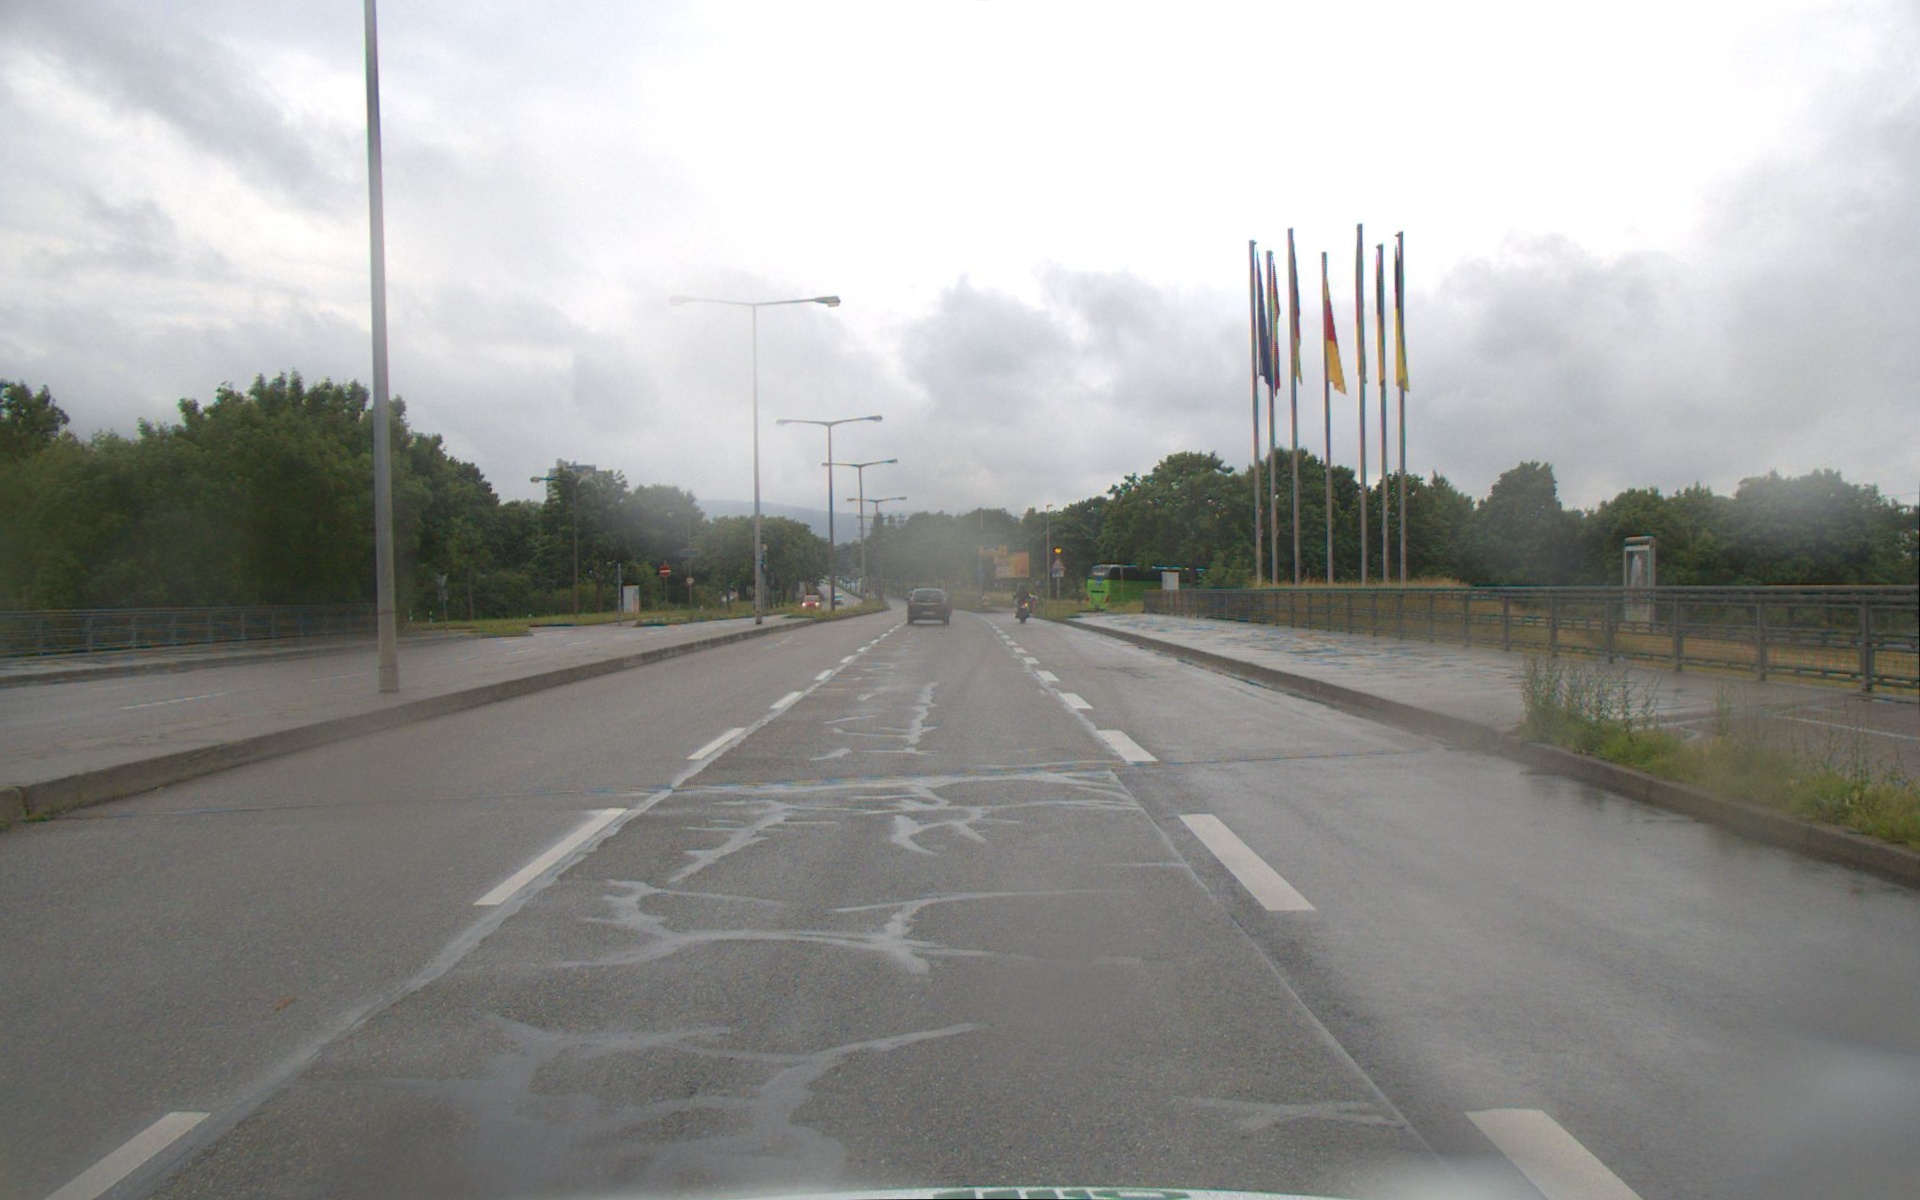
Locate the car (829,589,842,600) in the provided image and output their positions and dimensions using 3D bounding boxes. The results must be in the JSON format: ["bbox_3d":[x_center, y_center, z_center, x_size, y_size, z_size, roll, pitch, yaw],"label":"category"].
[{"bbox_3d":[-19.200,-0.843,254.498,1.673,1.658,4.490,-3,0,-2],"label":"car"}]

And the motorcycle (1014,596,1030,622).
[{"bbox_3d":[2.695,0.388,71.965,0.589,1.112,1.731,0,1,-2],"label":"motorcycle"}]

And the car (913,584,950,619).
[{"bbox_3d":[-1.179,0.053,66.664,1.433,1.352,3.757,0,1,-2],"label":"car"}]

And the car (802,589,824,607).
[{"bbox_3d":[-12.619,-0.182,142.200,1.627,1.473,3.556,-3,0,-1],"label":"car"}]

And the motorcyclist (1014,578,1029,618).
[{"bbox_3d":[2.684,-0.083,71.941,0.589,1.719,0.860,0,1,-2],"label":"motorcyclist"}]

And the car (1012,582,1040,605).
[{"bbox_3d":[4.896,-0.502,123.345,1.817,1.646,3.999,0,0,-2],"label":"car"}]

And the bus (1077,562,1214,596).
[{"bbox_3d":[15.940,-1.725,140.954,14.465,2.726,2.721,0,0,-42],"label":"bus"}]

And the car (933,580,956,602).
[{"bbox_3d":[-1.013,-0.600,106.398,1.433,1.352,3.757,0,1,-2],"label":"car"}]
